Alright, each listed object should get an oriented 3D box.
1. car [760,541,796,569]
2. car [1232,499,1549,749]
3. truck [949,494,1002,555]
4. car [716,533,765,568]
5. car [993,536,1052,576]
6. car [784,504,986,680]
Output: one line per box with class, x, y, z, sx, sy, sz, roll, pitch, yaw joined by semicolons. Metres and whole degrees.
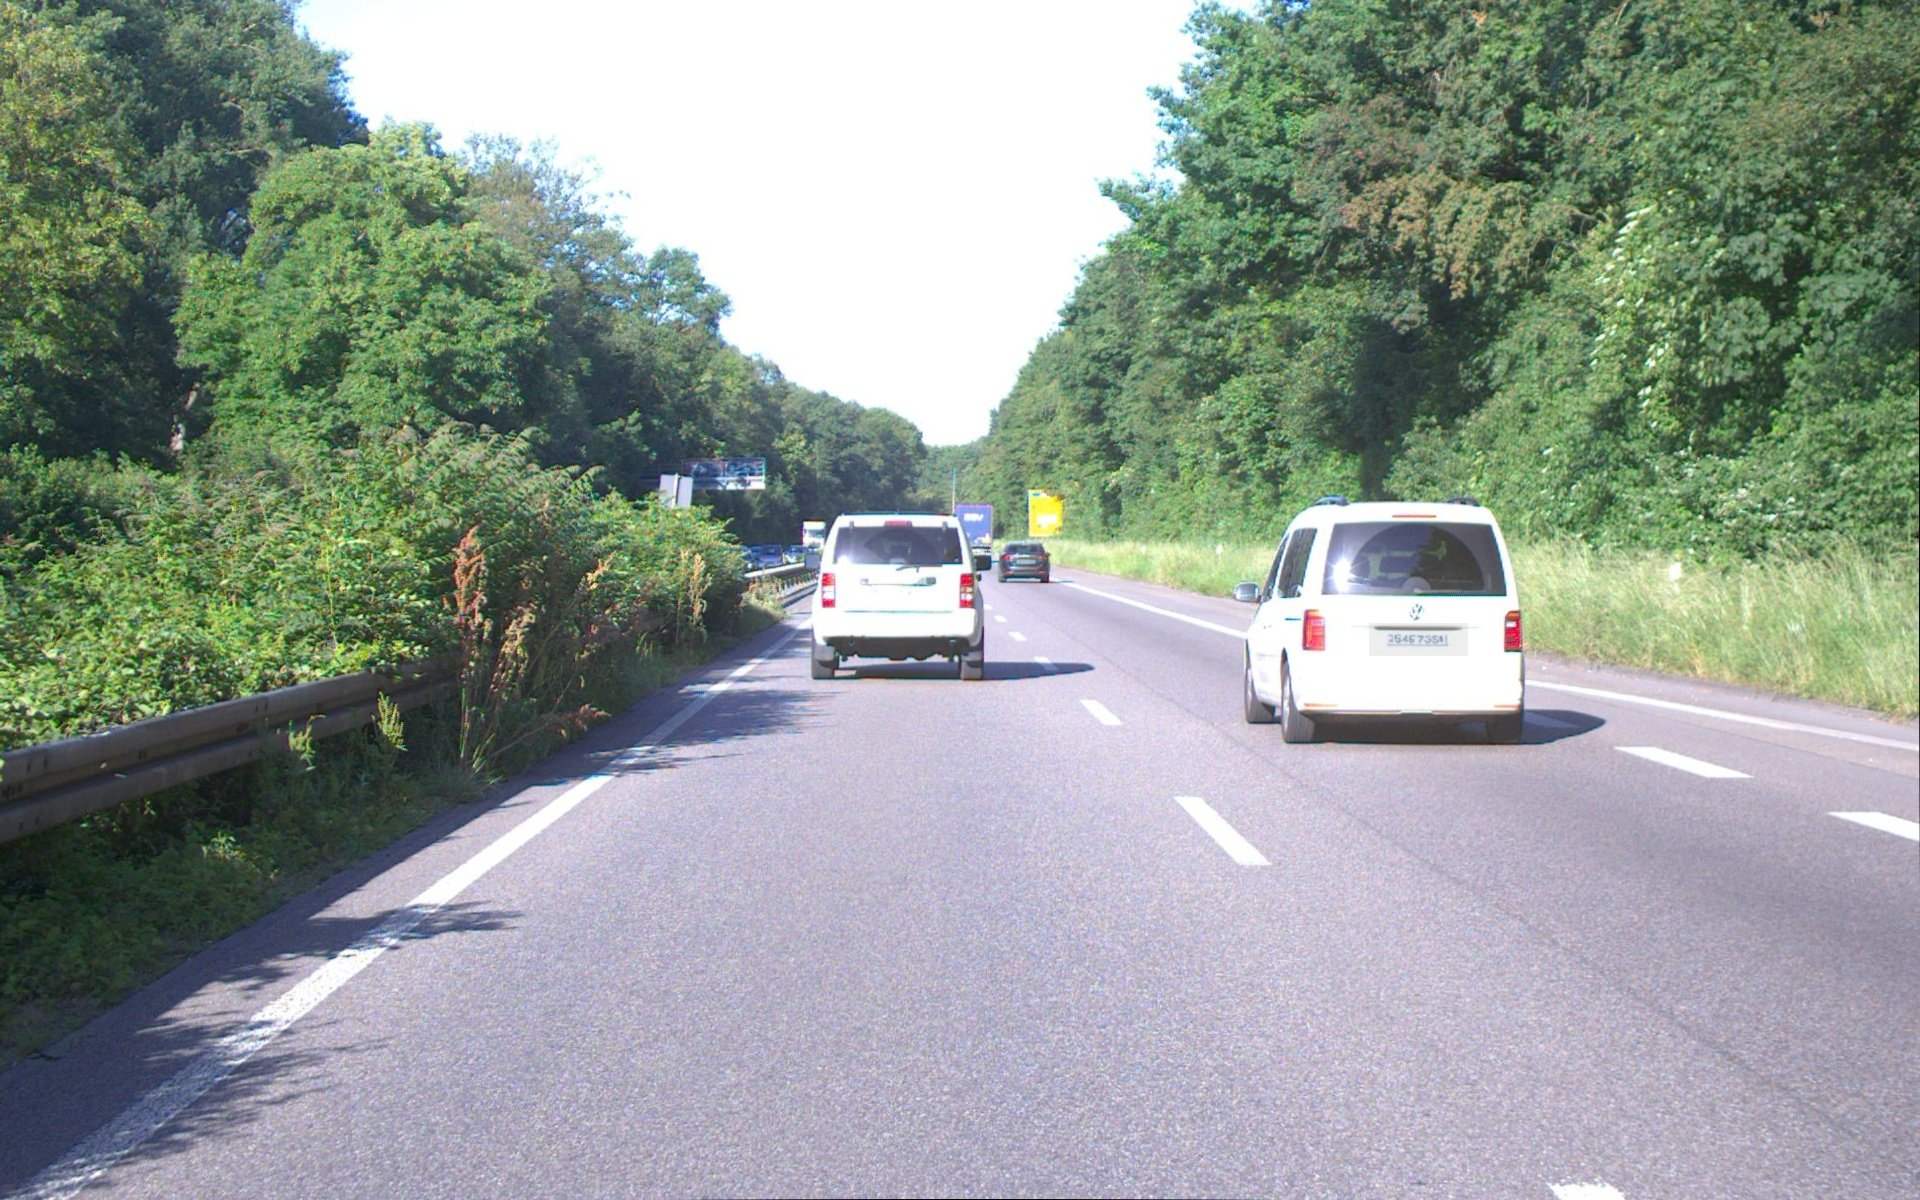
car;-10.310;-2.579;195.172;1.877;1.535;4.465;-1;1;-1
car;3.244;0.124;26.719;1.863;1.764;4.470;0;1;0
truck;1.059;-5.246;240.609;3.496;4.158;8.862;-1;1;-1
car;-9.796;-2.226;153.408;1.960;1.535;4.465;0;1;-1
car;2.220;-1.590;123.631;1.993;1.393;4.000;0;1;-1
car;-0.863;-0.118;37.528;2.085;1.822;4.001;0;1;-3
